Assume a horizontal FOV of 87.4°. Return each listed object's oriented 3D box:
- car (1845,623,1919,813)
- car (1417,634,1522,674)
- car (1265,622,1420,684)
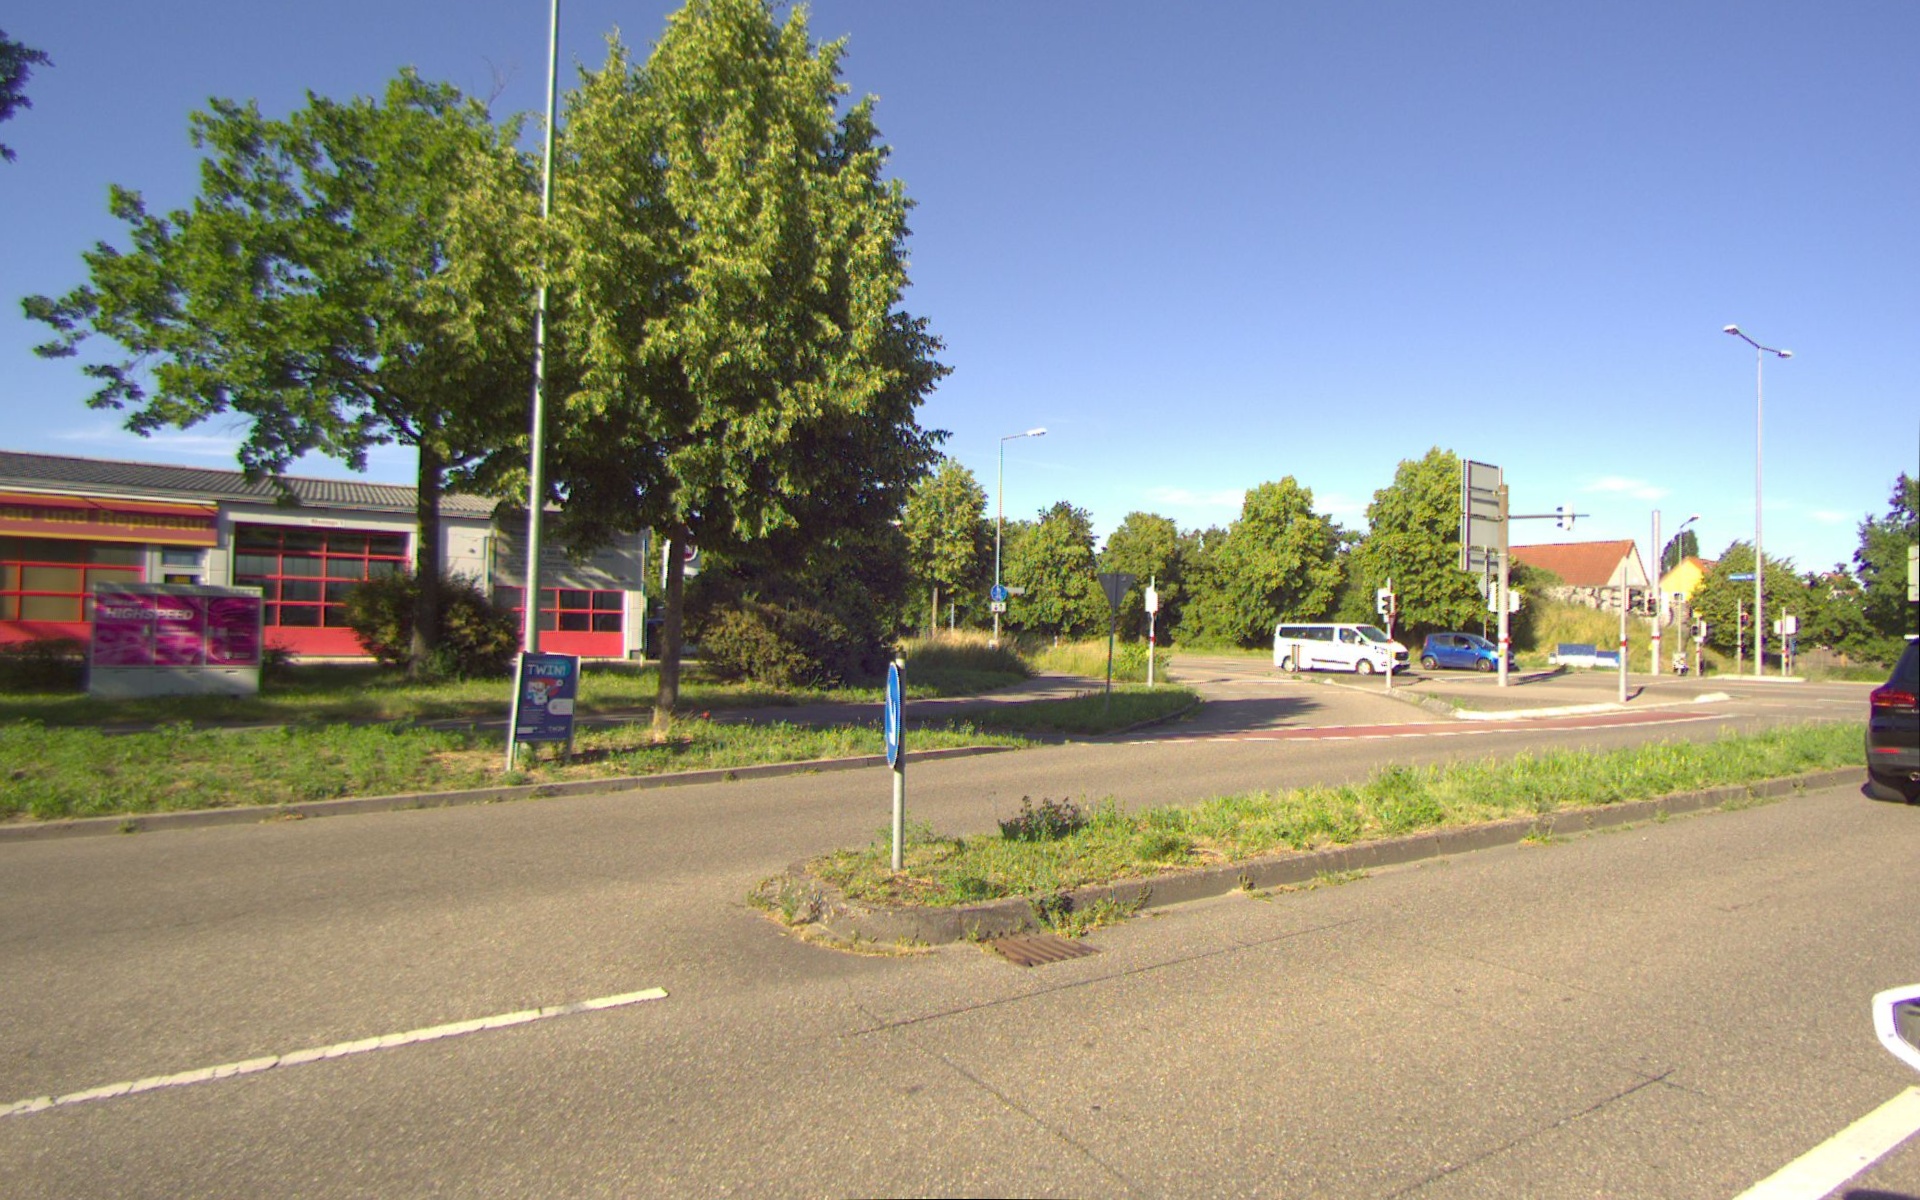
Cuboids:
[{"bbox_3d":[10.330,1.084,9.576,3.956,1.675,1.763,2,-3,-32],"label":"car"},{"bbox_3d":[21.305,2.234,42.094,1.733,1.581,3.559,2,-2,-35],"label":"car"},{"bbox_3d":[14.794,1.998,39.193,2.160,2.146,5.350,2,-1,-35],"label":"car"}]
